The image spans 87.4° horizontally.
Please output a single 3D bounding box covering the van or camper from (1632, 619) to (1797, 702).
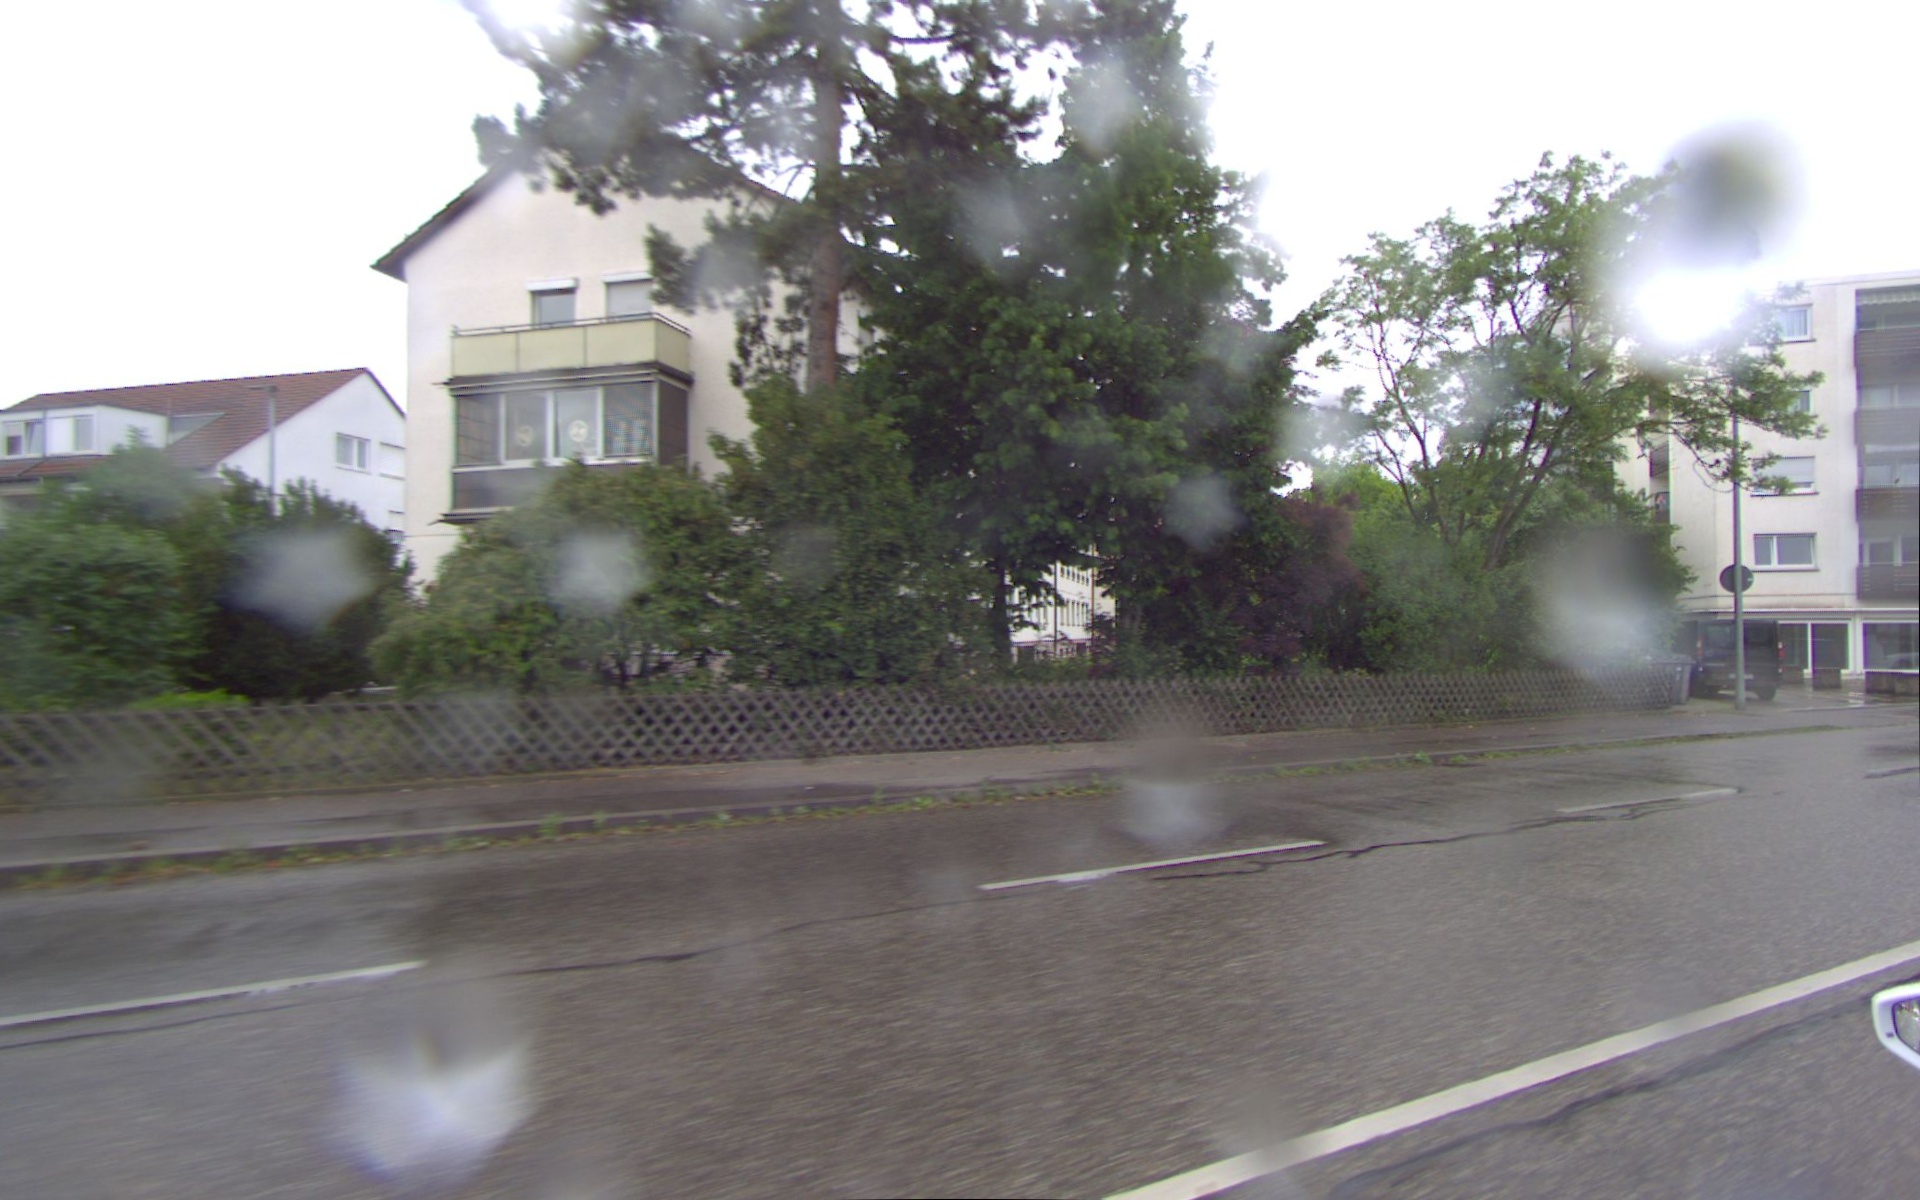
[{"bbox_3d":[19.750,1.499,26.610,1.961,1.950,5.218,-2,-1,19],"label":"van or camper"}]

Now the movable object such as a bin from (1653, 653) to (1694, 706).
[{"bbox_3d":[15.884,1.757,22.360,0.596,1.133,0.594,2,-2,-39],"label":"movable object such as a bin"}]

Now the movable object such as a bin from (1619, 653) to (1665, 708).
[{"bbox_3d":[14.409,1.696,21.241,0.593,1.133,0.597,1,-2,-29],"label":"movable object such as a bin"}]

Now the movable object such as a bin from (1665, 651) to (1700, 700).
[{"bbox_3d":[17.482,1.818,24.323,0.590,1.133,0.600,-1,-2,28],"label":"movable object such as a bin"}]

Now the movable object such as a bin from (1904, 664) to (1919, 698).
[{"bbox_3d":[26.597,2.239,27.749,0.590,0.914,0.572,1,-2,-26],"label":"movable object such as a bin"}]

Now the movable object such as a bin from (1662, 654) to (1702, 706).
[{"bbox_3d":[16.364,1.798,22.759,0.596,1.133,0.594,2,-2,-39],"label":"movable object such as a bin"}]

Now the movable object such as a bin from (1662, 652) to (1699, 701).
[{"bbox_3d":[16.958,1.795,23.650,0.590,1.133,0.600,-1,-2,28],"label":"movable object such as a bin"}]

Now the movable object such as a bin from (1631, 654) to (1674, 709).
[{"bbox_3d":[14.894,1.742,21.603,0.596,1.133,0.594,2,-2,-39],"label":"movable object such as a bin"}]

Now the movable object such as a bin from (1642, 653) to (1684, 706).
[{"bbox_3d":[15.383,1.733,21.982,0.596,1.133,0.594,2,-2,-39],"label":"movable object such as a bin"}]
